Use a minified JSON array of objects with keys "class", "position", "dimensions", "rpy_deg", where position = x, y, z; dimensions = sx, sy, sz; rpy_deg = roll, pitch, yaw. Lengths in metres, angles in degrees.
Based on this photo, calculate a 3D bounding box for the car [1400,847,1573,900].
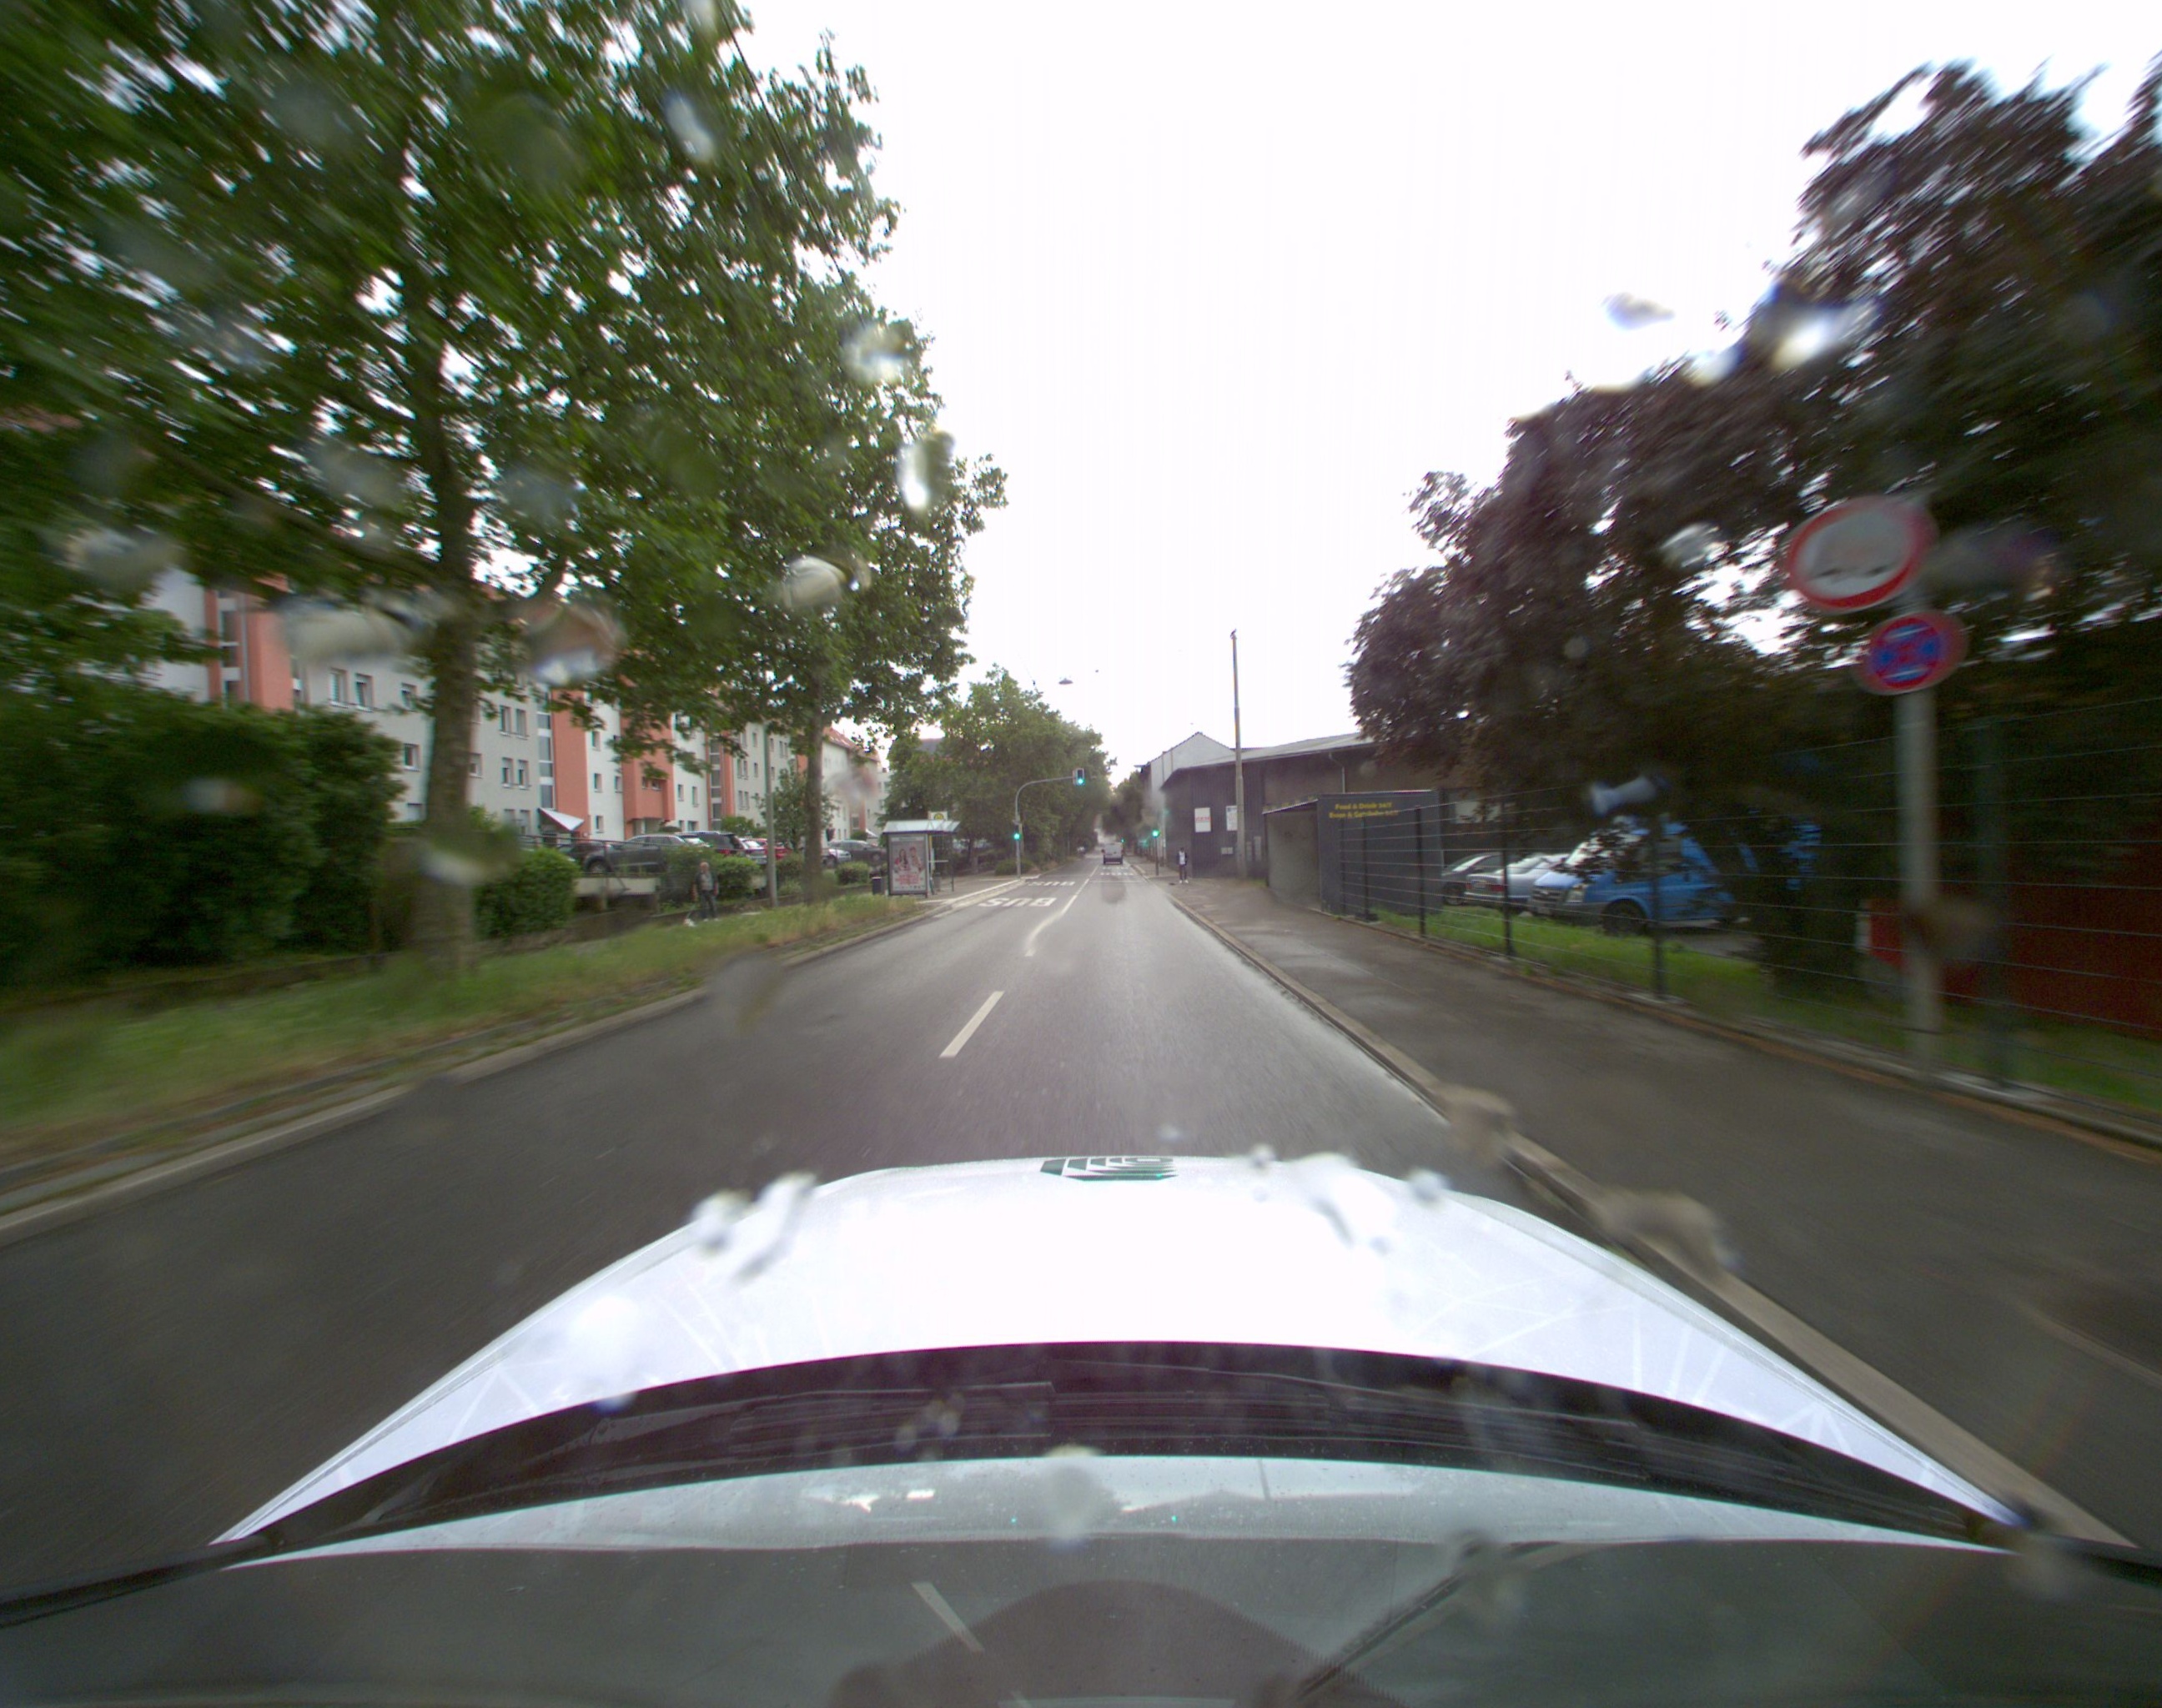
[{"class":"car","position":[11.271,0.552,22.834],"dimensions":[3.971,1.423,1.786],"rpy_deg":[0,-1,2]}]

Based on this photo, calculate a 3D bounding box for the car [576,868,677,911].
[{"class":"car","position":[-22.928,1.752,41.179],"dimensions":[3.969,2.013,2.002],"rpy_deg":[-1,0,4]}]

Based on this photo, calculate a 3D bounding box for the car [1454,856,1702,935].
[{"class":"car","position":[10.837,0.877,17.969],"dimensions":[4.365,1.531,1.793],"rpy_deg":[-2,-1,0]}]

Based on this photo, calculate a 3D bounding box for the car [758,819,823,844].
[{"class":"car","position":[-19.892,-1.530,55.824],"dimensions":[3.797,1.602,1.718],"rpy_deg":[0,-1,0]}]

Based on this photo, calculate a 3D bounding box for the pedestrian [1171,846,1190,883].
[{"class":"pedestrian","position":[4.725,0.494,38.627],"dimensions":[0.741,1.704,0.900],"rpy_deg":[0,-1,-4]}]

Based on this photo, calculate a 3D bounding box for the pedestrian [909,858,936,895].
[{"class":"pedestrian","position":[-5.906,0.843,30.324],"dimensions":[0.771,1.317,0.641],"rpy_deg":[-4,-2,5]}]

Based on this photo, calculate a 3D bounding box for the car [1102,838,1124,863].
[{"class":"car","position":[3.421,-0.349,86.383],"dimensions":[2.274,2.553,4.002],"rpy_deg":[-1,-1,2]}]

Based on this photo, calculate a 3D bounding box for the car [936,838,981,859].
[{"class":"car","position":[-11.977,-0.518,79.816],"dimensions":[4.155,2.013,1.718],"rpy_deg":[-1,0,-1]}]

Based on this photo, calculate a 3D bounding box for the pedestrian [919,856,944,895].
[{"class":"pedestrian","position":[-5.692,0.804,31.089],"dimensions":[0.684,1.418,0.641],"rpy_deg":[-4,-2,5]}]

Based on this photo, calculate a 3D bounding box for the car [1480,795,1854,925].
[{"class":"car","position":[10.693,0.102,15.179],"dimensions":[5.549,2.210,2.000],"rpy_deg":[-1,0,0]}]

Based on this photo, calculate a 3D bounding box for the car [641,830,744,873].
[{"class":"car","position":[-14.371,-0.060,30.210],"dimensions":[3.118,1.543,1.437],"rpy_deg":[0,-1,1]}]

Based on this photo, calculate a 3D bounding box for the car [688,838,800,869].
[{"class":"car","position":[-14.540,0.006,35.256],"dimensions":[4.073,1.303,1.810],"rpy_deg":[0,-1,1]}]

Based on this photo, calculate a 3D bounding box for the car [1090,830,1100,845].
[{"class":"car","position":[3.480,-4.155,204.960],"dimensions":[2.205,2.297,4.608],"rpy_deg":[0,-19,4]}]

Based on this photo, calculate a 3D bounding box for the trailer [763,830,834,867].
[{"class":"trailer","position":[-12.966,-0.223,37.441],"dimensions":[2.693,1.645,1.481],"rpy_deg":[0,-1,2]}]

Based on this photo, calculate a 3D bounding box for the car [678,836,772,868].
[{"class":"car","position":[-14.229,-0.066,32.641],"dimensions":[3.118,1.270,1.437],"rpy_deg":[0,-1,1]}]

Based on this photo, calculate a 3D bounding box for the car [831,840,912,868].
[{"class":"car","position":[-13.075,0.009,51.088],"dimensions":[4.529,1.672,2.000],"rpy_deg":[0,-1,1]}]

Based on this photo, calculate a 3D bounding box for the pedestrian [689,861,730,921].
[{"class":"pedestrian","position":[-10.135,1.006,22.245],"dimensions":[0.753,1.611,0.834],"rpy_deg":[0,-1,-3]}]

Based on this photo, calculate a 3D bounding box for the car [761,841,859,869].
[{"class":"car","position":[-13.907,0.075,41.936],"dimensions":[4.339,1.424,1.860],"rpy_deg":[0,-1,1]}]

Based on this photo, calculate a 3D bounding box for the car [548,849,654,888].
[{"class":"car","position":[-22.972,0.659,39.057],"dimensions":[3.873,1.750,2.002],"rpy_deg":[-1,0,4]}]

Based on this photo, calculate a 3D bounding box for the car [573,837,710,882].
[{"class":"car","position":[-15.056,0.192,28.084],"dimensions":[3.643,1.498,1.896],"rpy_deg":[0,-1,-2]}]
